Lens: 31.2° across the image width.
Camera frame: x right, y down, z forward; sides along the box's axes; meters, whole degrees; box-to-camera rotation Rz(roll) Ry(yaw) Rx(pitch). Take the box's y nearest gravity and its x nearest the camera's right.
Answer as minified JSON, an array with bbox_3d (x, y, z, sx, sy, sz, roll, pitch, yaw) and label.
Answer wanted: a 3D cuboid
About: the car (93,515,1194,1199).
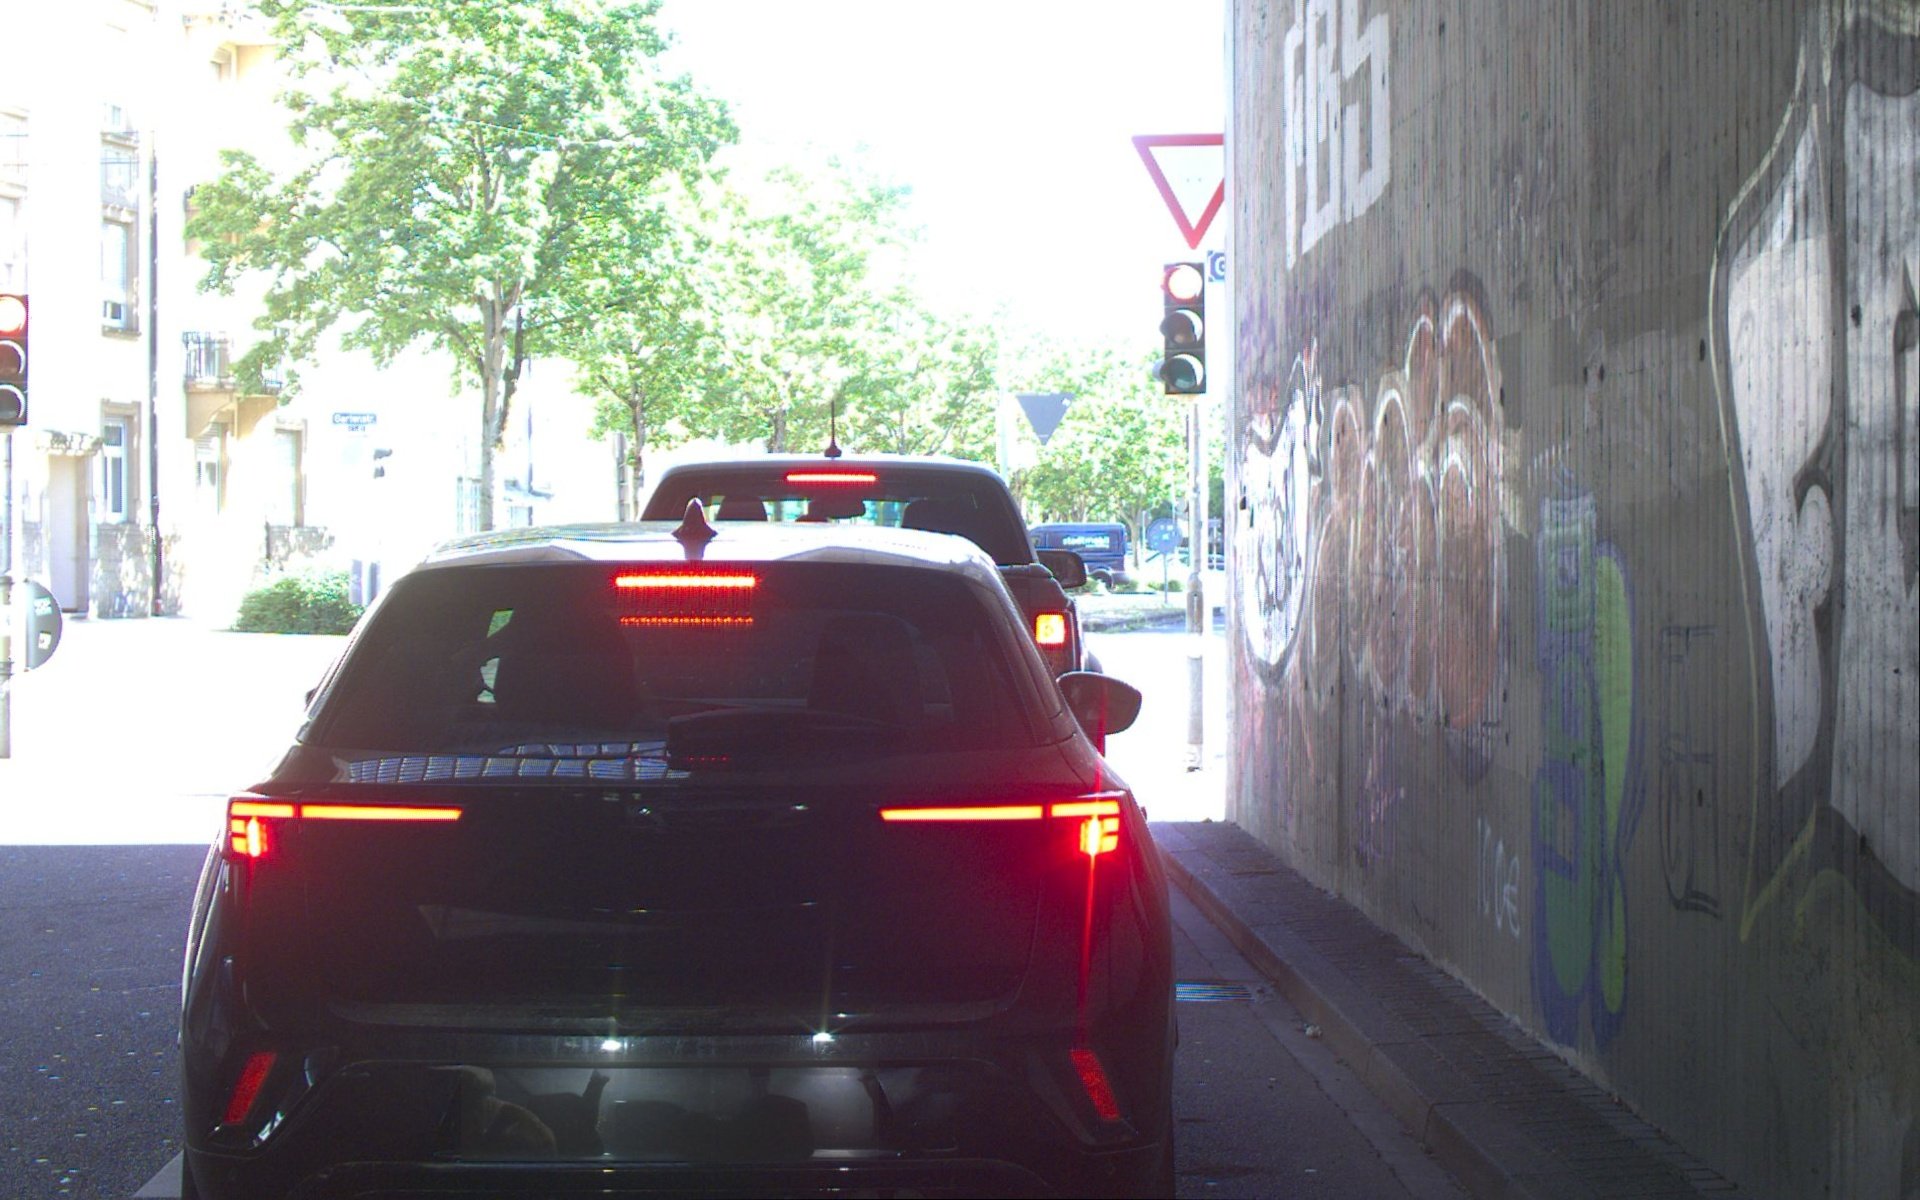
[{"bbox_3d":[-0.526,0.583,7.522,1.753,1.493,4.000,1,1,0],"label":"car"}]

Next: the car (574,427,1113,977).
[{"bbox_3d":[-0.411,0.302,13.489,1.786,1.827,3.961,1,1,-1],"label":"car"}]

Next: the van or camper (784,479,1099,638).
[{"bbox_3d":[-0.206,-0.543,44.872,3.878,2.007,2.000,0,1,7],"label":"van or camper"}]
